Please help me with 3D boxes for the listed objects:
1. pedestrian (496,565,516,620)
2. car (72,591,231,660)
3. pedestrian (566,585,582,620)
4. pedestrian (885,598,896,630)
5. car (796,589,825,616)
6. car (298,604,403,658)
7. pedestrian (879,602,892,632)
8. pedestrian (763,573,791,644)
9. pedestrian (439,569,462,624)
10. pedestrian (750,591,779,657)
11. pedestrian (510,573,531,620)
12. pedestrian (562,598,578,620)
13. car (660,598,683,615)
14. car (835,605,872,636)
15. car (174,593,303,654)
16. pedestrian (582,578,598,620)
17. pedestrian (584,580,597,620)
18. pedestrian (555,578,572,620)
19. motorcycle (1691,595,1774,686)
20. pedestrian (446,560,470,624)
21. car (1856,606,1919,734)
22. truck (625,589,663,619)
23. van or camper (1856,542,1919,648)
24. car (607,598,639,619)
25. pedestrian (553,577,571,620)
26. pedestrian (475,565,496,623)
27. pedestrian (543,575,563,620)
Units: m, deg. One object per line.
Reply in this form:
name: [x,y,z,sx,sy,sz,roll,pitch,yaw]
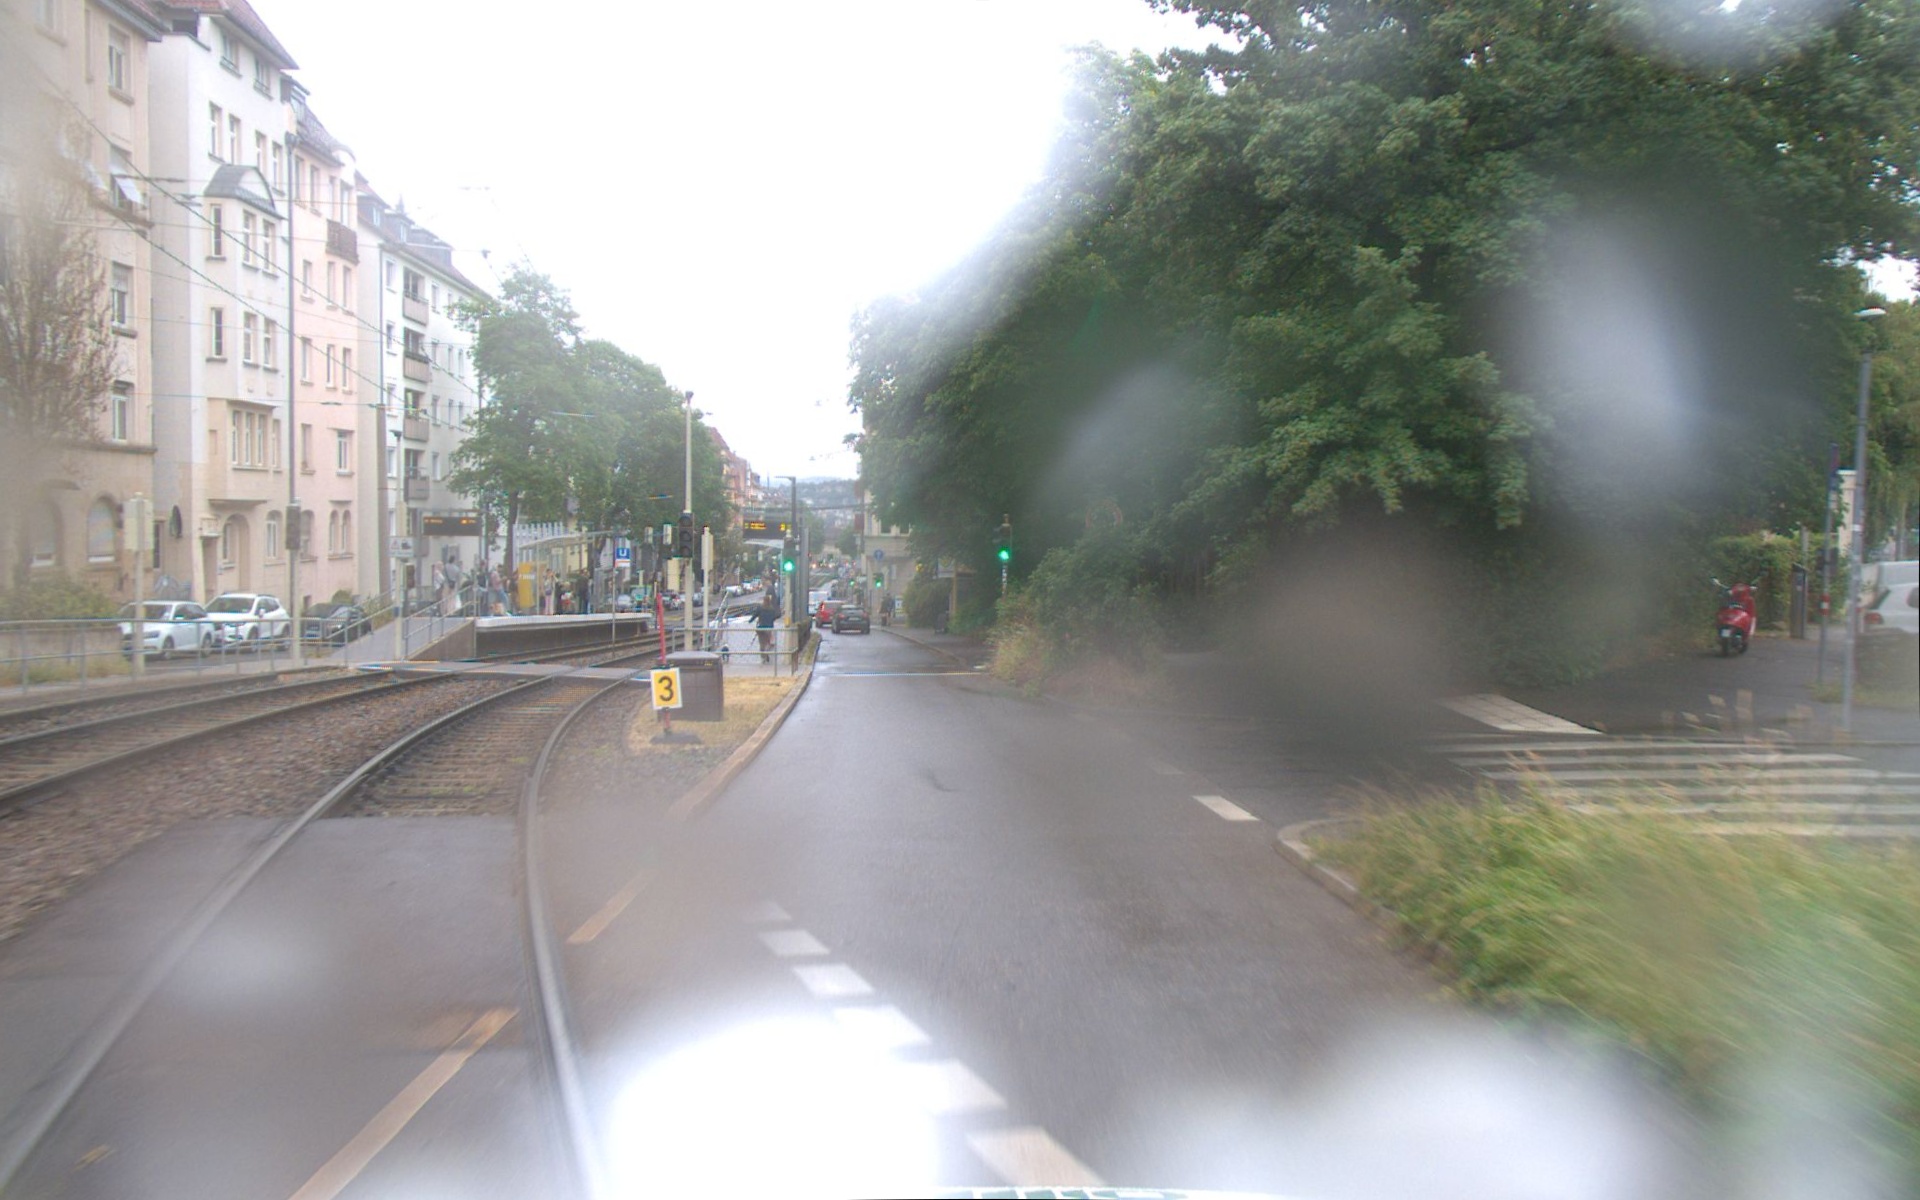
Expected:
pedestrian: [-15.768,-0.262,57.465,0.506,1.870,0.761,-1,-1,-4]
car: [-20.429,0.689,42.018,1.954,1.560,4.528,3,-2,-4]
pedestrian: [-16.102,0.096,68.956,0.539,1.438,0.613,-1,-1,-5]
pedestrian: [-4.059,0.791,96.363,0.543,1.845,0.650,1,-1,-7]
car: [-10.257,0.194,113.502,1.911,1.824,4.138,1,-1,-6]
car: [-20.773,1.071,56.583,1.953,1.762,4.811,0,-1,-2]
pedestrian: [-4.335,0.972,95.709,0.682,1.725,0.555,1,-1,-7]
pedestrian: [-4.724,0.224,42.721,0.637,1.815,0.847,1,-1,-4]
pedestrian: [-15.288,-0.095,49.642,0.506,1.633,0.562,-1,-1,-5]
pedestrian: [-4.769,0.581,40.404,0.637,1.590,0.683,1,-1,-4]
pedestrian: [-15.942,-0.130,59.992,0.582,1.695,0.761,-1,-1,-5]
pedestrian: [-16.065,0.361,68.054,0.539,0.887,0.613,-1,-1,-5]
car: [-27.409,0.623,157.474,1.738,1.573,4.251,-1,0,-5]
car: [-5.505,1.034,85.131,1.816,1.499,3.995,0,0,-6]
car: [-20.698,0.642,47.641,1.885,1.651,4.532,0,0,-3]
pedestrian: [-15.725,-0.053,70.244,0.539,1.772,0.613,-1,-1,-5]
pedestrian: [-16.464,-0.010,73.667,0.473,1.772,0.563,-1,-1,-5]
pedestrian: [-16.027,-0.034,66.903,0.539,1.695,0.613,-1,-1,-5]
motorcycle: [12.960,0.672,27.691,0.808,1.399,2.422,5,2,34]
pedestrian: [-14.896,-0.231,49.098,0.550,1.882,0.598,-1,-1,-5]
car: [17.120,1.180,26.761,4.417,2.049,1.993,1,-1,35]
truck: [-26.053,0.337,136.368,2.009,2.435,6.319,0,0,-1]
van or camper: [18.763,-0.122,28.970,5.085,1.866,1.989,-2,-1,40]
car: [-25.681,0.651,126.213,1.691,1.542,4.493,0,0,-3]
pedestrian: [-15.840,-0.049,65.788,0.582,1.695,0.591,-1,-1,-5]
pedestrian: [-15.470,-0.203,53.939,0.506,1.870,0.761,-1,-1,-4]
pedestrian: [-15.606,-0.078,63.452,0.582,1.695,0.761,-1,-1,-5]
